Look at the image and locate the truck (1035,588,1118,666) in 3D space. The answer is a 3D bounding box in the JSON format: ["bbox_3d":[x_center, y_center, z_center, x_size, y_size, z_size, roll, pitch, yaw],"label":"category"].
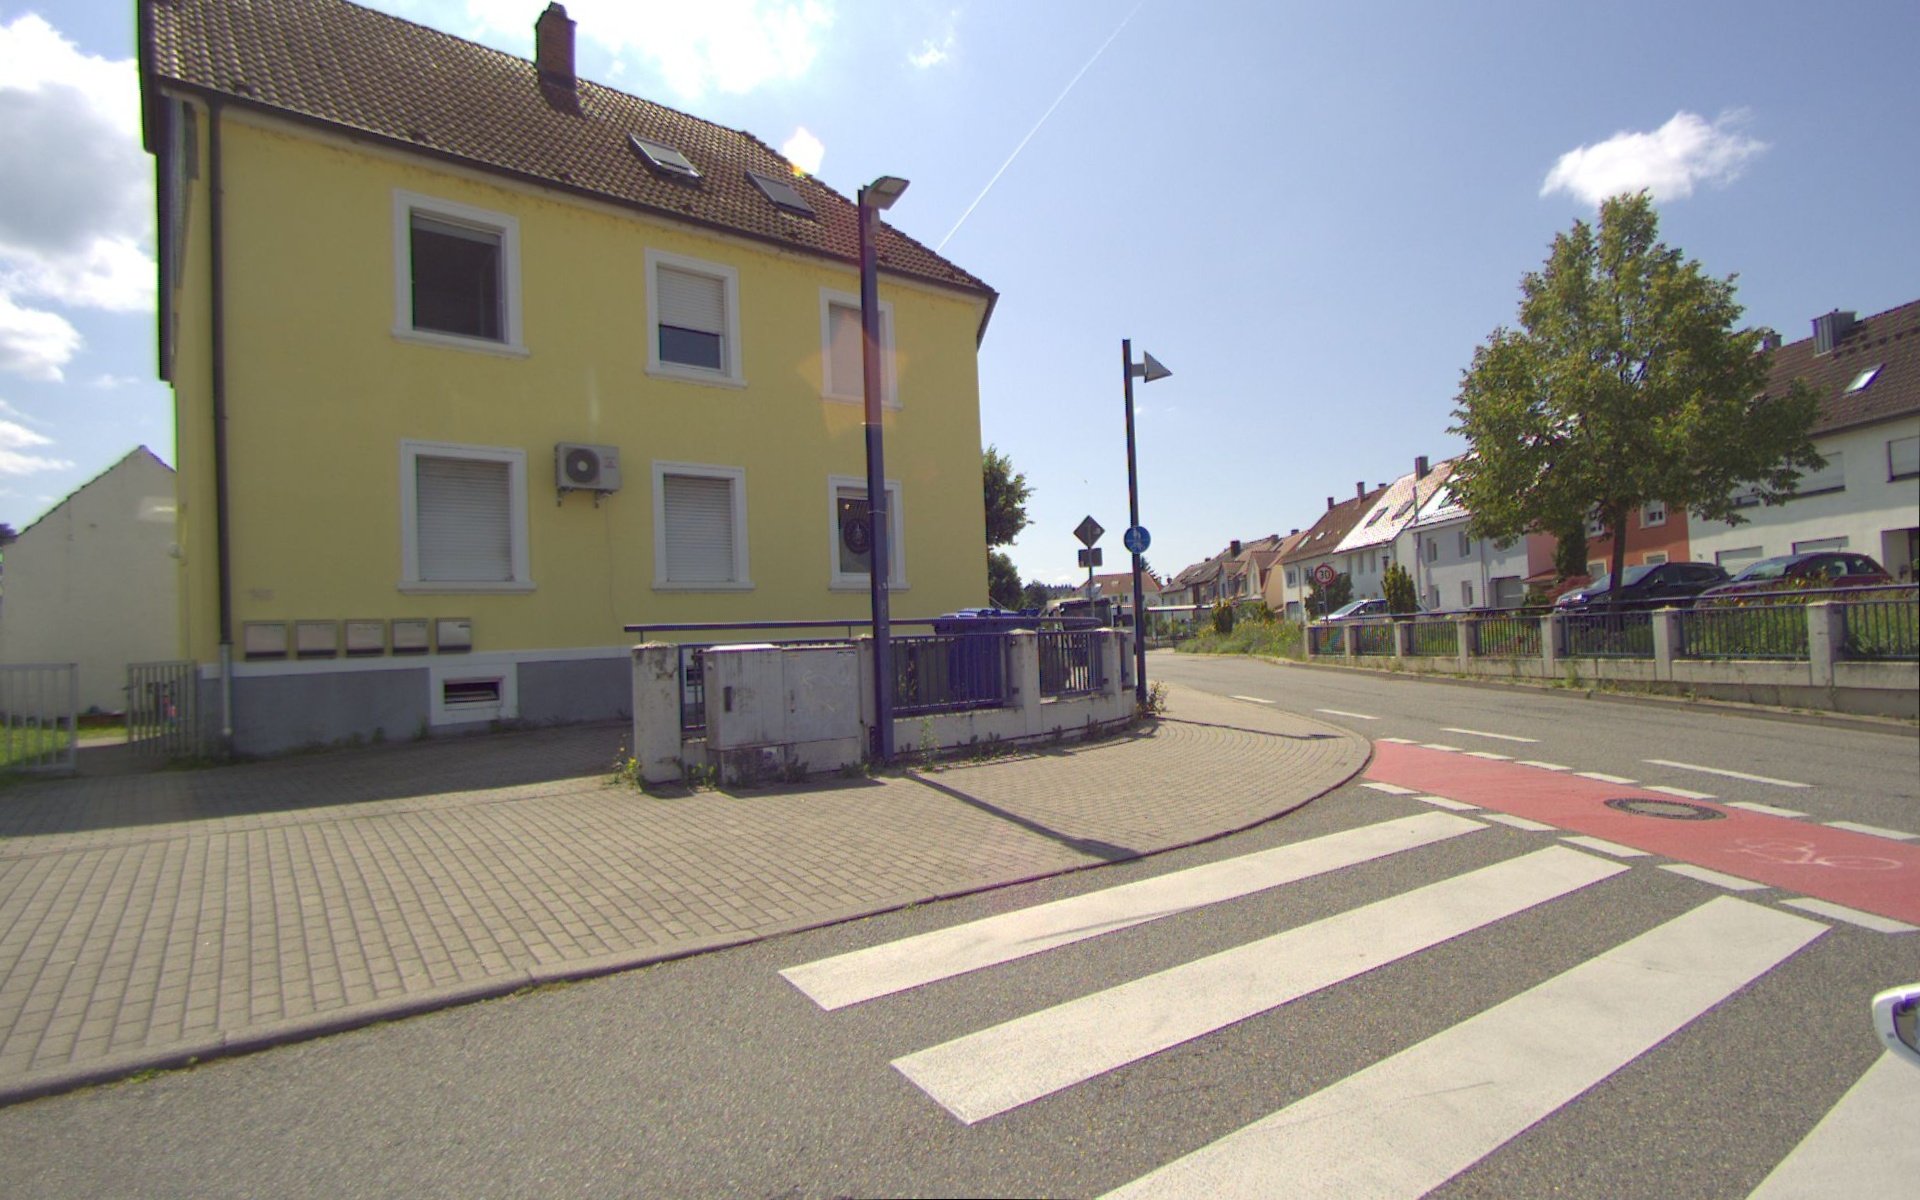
[{"bbox_3d":[4.766,1.107,42.525,2.566,2.915,8.074,-2,-1,1],"label":"truck"}]

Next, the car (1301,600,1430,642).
[{"bbox_3d":[15.232,0.775,37.820,4.175,1.508,1.746,0,1,-5],"label":"car"}]

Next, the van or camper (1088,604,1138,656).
[{"bbox_3d":[8.317,1.617,55.033,1.965,2.665,5.394,1,-1,1],"label":"van or camper"}]

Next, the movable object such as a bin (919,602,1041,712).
[{"bbox_3d":[0.248,0.662,12.026,0.830,1.229,1.270,-3,-2,40],"label":"movable object such as a bin"}]

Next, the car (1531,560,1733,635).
[{"bbox_3d":[15.232,-0.048,22.852,3.546,1.608,1.869,0,1,-11],"label":"car"}]

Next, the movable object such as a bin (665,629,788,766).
[{"bbox_3d":[-2.304,0.928,9.874,0.893,1.241,0.879,0,-2,-35],"label":"movable object such as a bin"}]

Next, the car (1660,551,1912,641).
[{"bbox_3d":[15.584,-0.073,19.039,3.546,1.608,1.869,0,1,-11],"label":"car"}]
